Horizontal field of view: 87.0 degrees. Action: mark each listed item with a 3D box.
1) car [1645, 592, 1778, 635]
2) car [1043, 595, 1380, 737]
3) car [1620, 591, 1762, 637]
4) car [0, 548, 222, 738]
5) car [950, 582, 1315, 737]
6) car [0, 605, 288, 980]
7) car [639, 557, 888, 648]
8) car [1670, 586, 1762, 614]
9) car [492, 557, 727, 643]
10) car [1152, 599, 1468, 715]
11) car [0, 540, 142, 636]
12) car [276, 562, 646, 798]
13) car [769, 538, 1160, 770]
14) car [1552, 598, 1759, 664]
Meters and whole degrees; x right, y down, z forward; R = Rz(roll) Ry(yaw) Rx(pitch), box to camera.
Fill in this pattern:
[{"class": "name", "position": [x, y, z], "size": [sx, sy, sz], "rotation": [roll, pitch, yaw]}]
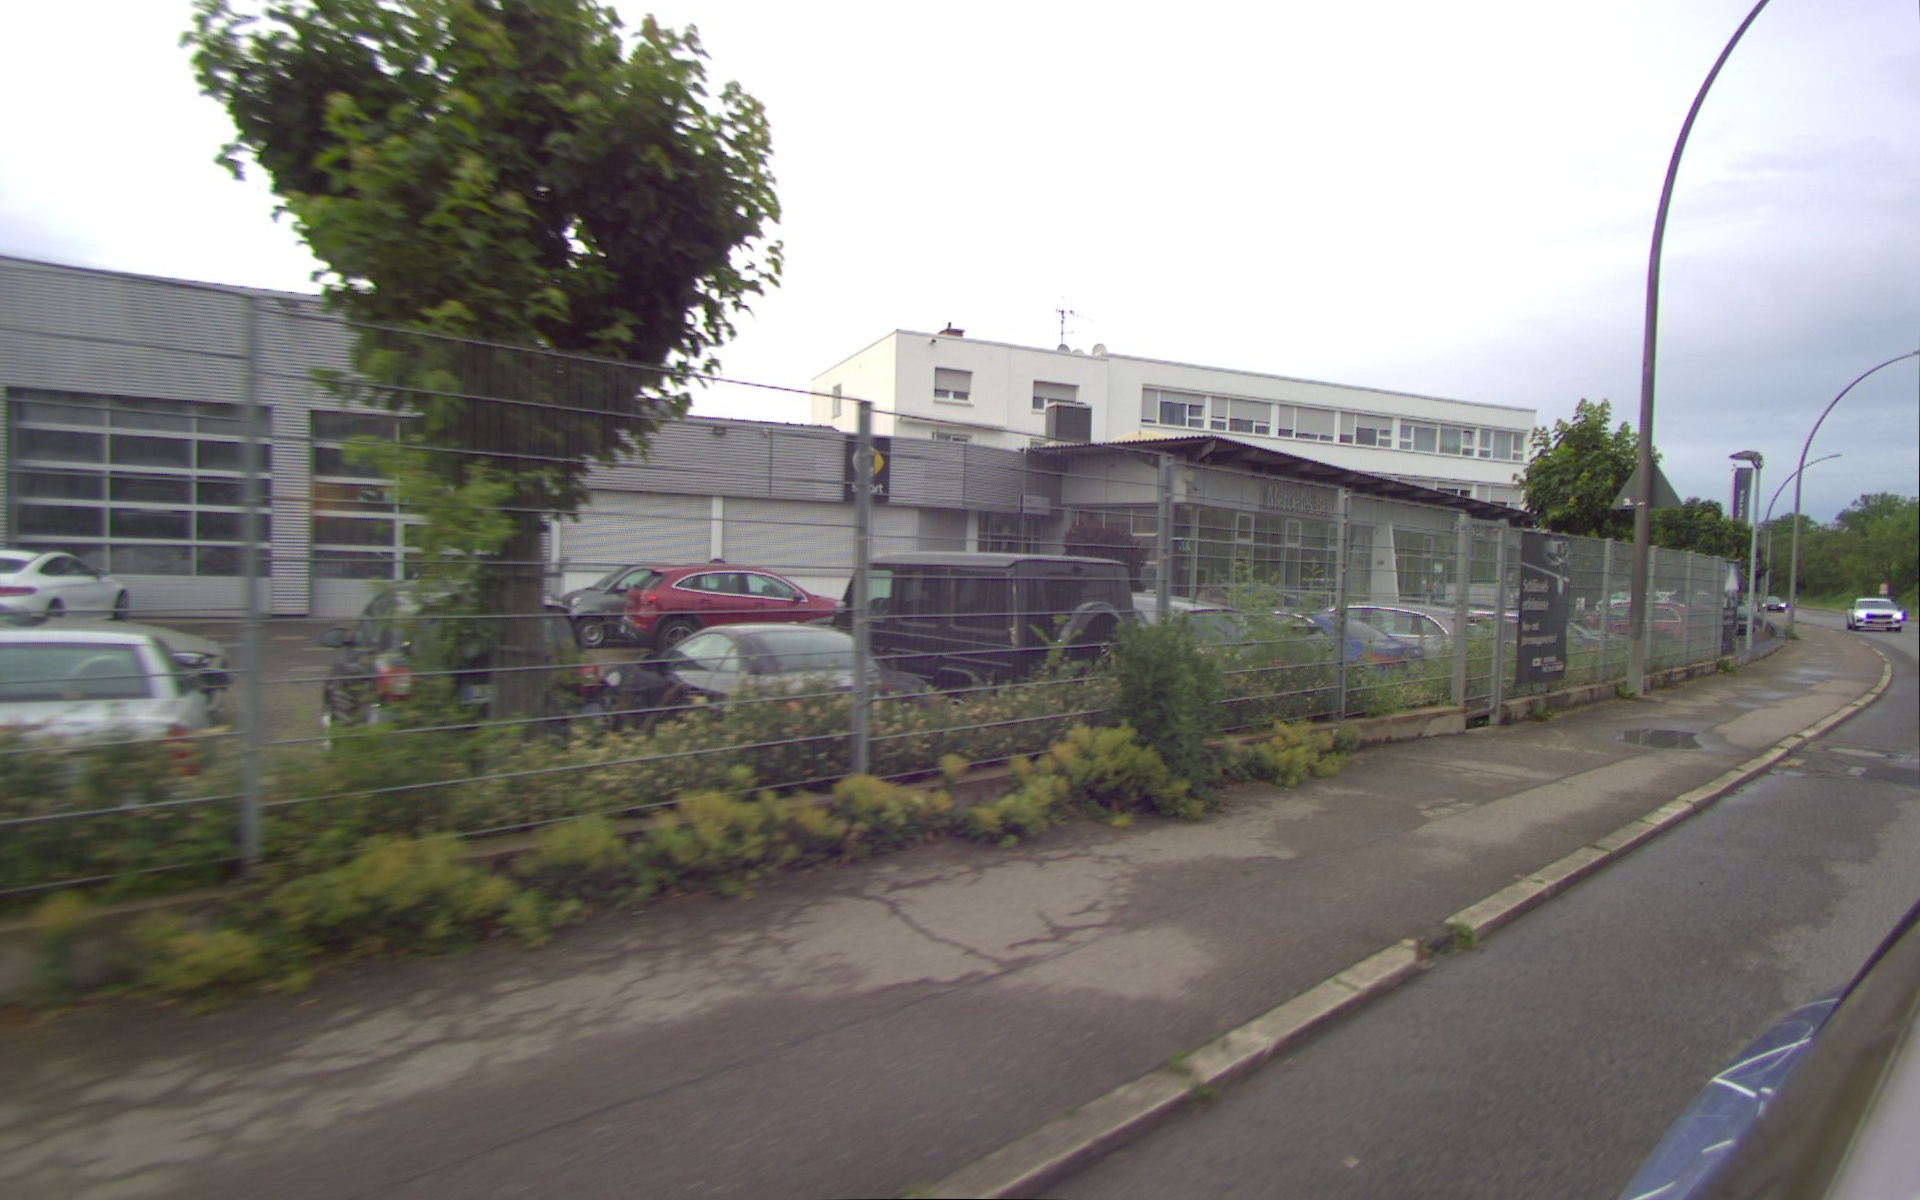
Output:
[{"class": "car", "position": [30.045, 0.501, 40.615], "size": [1.859, 1.575, 4.008], "rotation": [-1, 1, -14]}, {"class": "car", "position": [3.156, 0.727, 13.314], "size": [1.794, 1.452, 3.994], "rotation": [0, 2, -41]}, {"class": "car", "position": [28.100, 0.483, 39.079], "size": [1.798, 1.485, 4.185], "rotation": [0, 3, -16]}, {"class": "car", "position": [-8.799, 0.363, 8.320], "size": [4.227, 1.525, 1.785], "rotation": [-2, 1, -43]}, {"class": "car", "position": [1.780, 0.546, 11.570], "size": [1.757, 1.421, 3.998], "rotation": [-2, 1, -37]}, {"class": "car", "position": [-5.178, 0.823, 5.837], "size": [1.651, 1.528, 3.909], "rotation": [-2, 1, -41]}, {"class": "car", "position": [-3.472, -0.001, 17.880], "size": [3.918, 1.438, 2.003], "rotation": [-2, 1, -26]}, {"class": "car", "position": [48.966, -0.010, 65.619], "size": [4.346, 1.672, 1.927], "rotation": [1, 2, 2]}, {"class": "car", "position": [-6.579, -0.030, 18.984], "size": [3.918, 1.438, 2.003], "rotation": [-2, 0, -26]}, {"class": "car", "position": [5.067, 0.725, 15.023], "size": [1.966, 1.421, 3.993], "rotation": [-2, 1, -41]}, {"class": "car", "position": [-15.512, -0.177, 16.799], "size": [1.684, 1.417, 4.660], "rotation": [-1, 1, -22]}, {"class": "car", "position": [-4.274, 0.459, 8.311], "size": [1.964, 1.427, 3.997], "rotation": [-2, 1, -38]}, {"class": "car", "position": [-0.140, 0.429, 10.514], "size": [1.743, 1.917, 4.141], "rotation": [-2, 1, -41]}, {"class": "car", "position": [20.172, 0.815, 29.614], "size": [1.958, 1.683, 4.707], "rotation": [-1, 1, -21]}]
